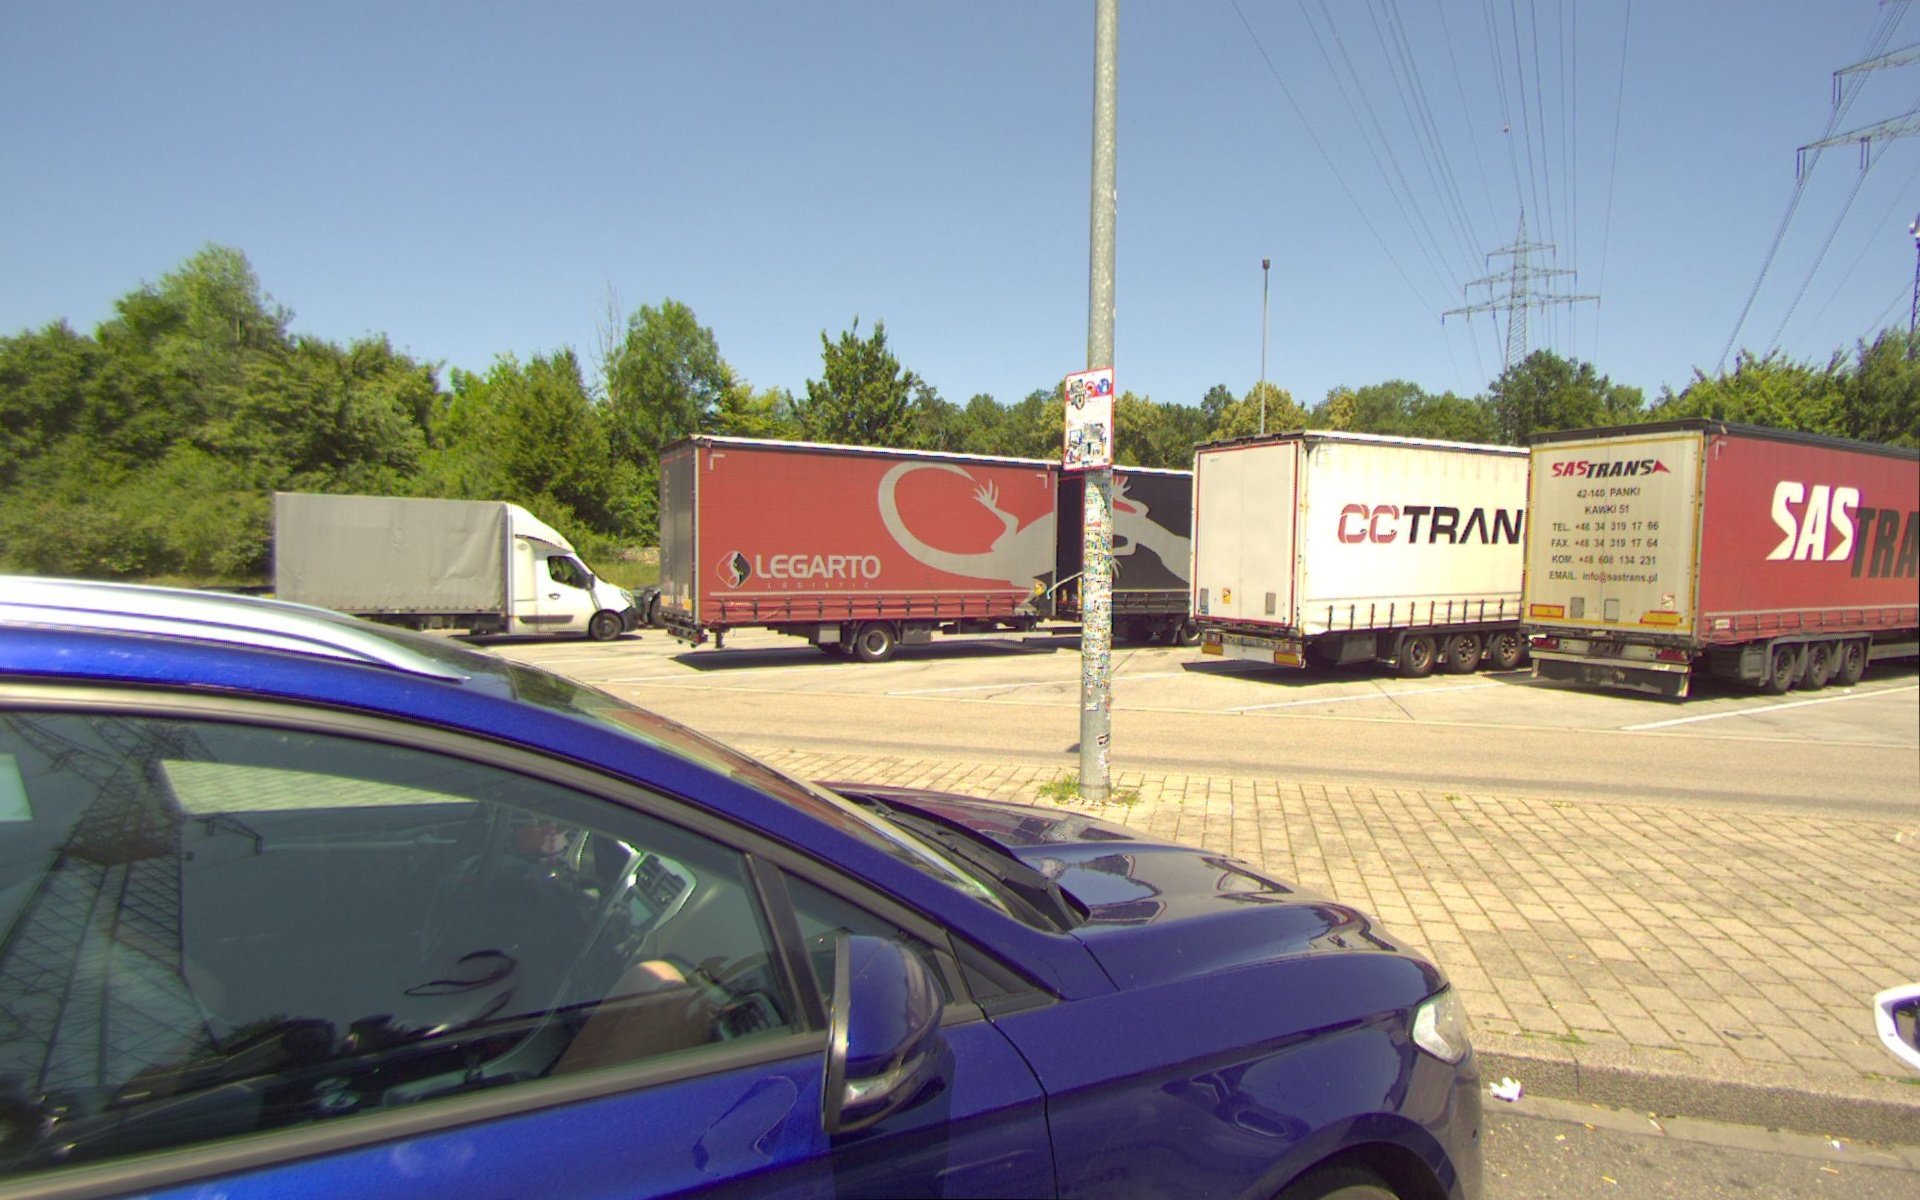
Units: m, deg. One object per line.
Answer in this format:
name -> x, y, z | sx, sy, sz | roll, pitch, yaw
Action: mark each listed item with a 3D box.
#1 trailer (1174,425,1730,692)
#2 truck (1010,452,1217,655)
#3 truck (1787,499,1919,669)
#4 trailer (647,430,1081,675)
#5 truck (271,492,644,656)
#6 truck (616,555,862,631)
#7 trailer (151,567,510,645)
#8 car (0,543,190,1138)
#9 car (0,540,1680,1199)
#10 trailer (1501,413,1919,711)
trailer -> 10.573, -0.796, 20.332 | 13.962, 4.141, 2.782 | -1, 3, -30
truck -> 3.556, -1.061, 23.446 | 3.947, 4.298, 2.723 | -1, 3, -30
truck -> 21.196, -0.388, 21.997 | 5.829, 3.373, 2.837 | -1, 3, -30
trailer -> -1.757, -0.896, 20.325 | 8.376, 4.141, 2.722 | -1, 3, -30
truck -> -11.203, -0.620, 23.022 | 7.204, 3.279, 2.727 | -1, 3, -29
truck -> -6.360, -0.224, 29.271 | 6.733, 2.041, 1.987 | -1, 1, -26
trailer -> -15.177, 0.061, 24.891 | 7.204, 1.711, 2.249 | -1, 3, -29
car -> -4.627, 0.603, 2.223 | 4.444, 1.520, 1.762 | 0, 2, -32
car -> -1.051, 0.680, 1.490 | 4.444, 1.511, 1.859 | 0, 2, -32
trailer -> 15.593, -0.688, 18.720 | 13.962, 4.141, 2.777 | -1, 3, -30
